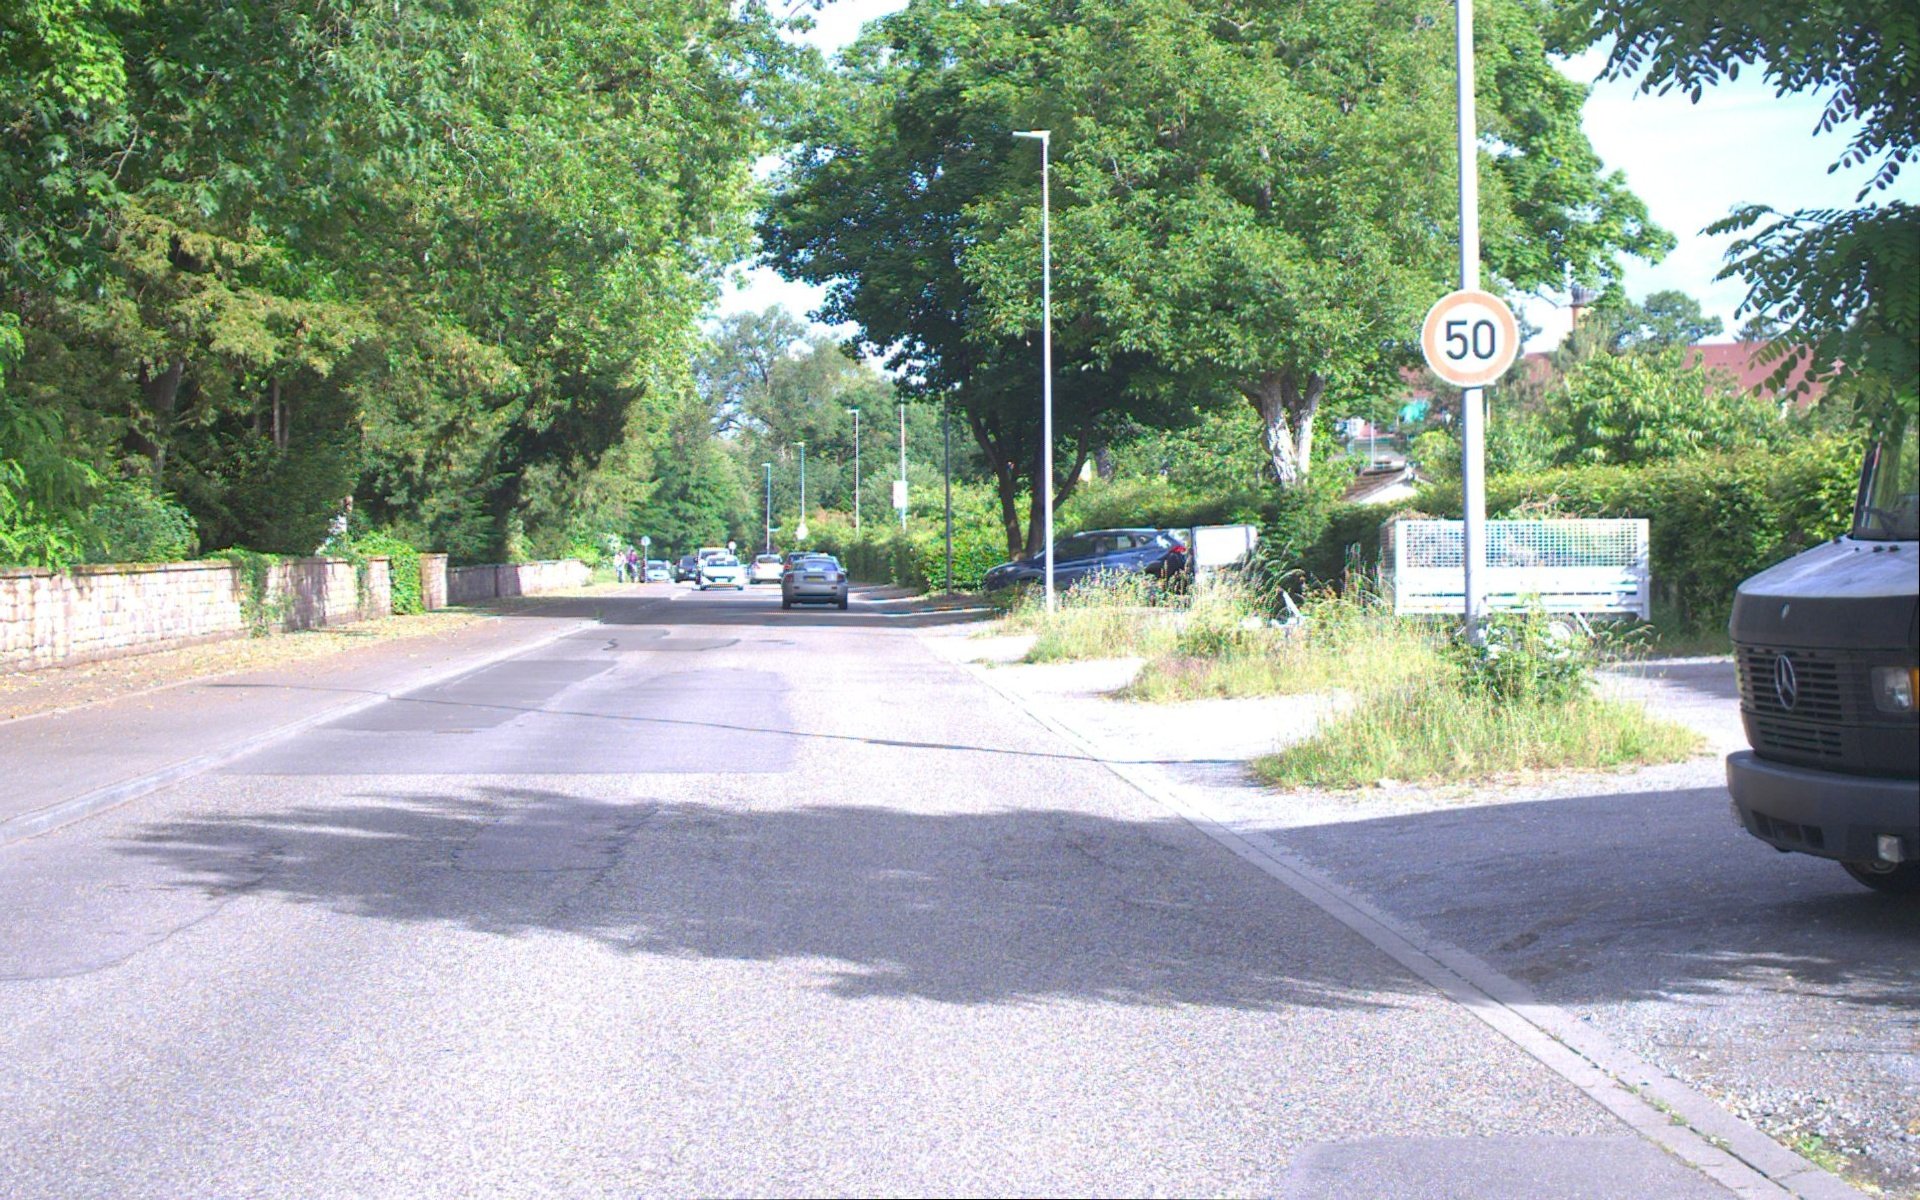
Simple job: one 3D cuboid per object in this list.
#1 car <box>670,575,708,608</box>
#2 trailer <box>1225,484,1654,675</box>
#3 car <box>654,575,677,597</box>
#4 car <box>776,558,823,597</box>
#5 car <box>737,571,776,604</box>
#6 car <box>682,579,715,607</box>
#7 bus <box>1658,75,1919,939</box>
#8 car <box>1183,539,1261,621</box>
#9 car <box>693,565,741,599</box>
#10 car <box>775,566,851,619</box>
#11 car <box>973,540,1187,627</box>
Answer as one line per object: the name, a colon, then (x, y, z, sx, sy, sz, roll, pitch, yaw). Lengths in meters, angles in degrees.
car: (-13.551, -0.418, 172.099, 1.886, 1.608, 4.055, 0, 0, -4)
trailer: (4.894, -0.206, 35.537, 4.152, 1.829, 1.916, -1, 0, 1)
car: (-20.566, -0.988, 240.097, 1.577, 1.447, 3.399, -1, 0, -4)
car: (-6.809, -0.938, 145.709, 1.886, 1.608, 4.055, 0, 0, -4)
car: (-10.173, -0.633, 171.440, 1.886, 1.608, 4.055, 0, 0, -4)
car: (-15.295, -0.426, 200.935, 1.886, 1.608, 4.055, 0, 0, -4)
bus: (5.428, -0.375, 12.182, 5.364, 2.737, 2.069, -1, 1, -5)
car: (5.519, -0.439, 72.100, 1.351, 1.627, 4.110, -3, 1, 7)
car: (-10.088, -0.745, 142.628, 1.886, 1.367, 4.055, 0, 0, -5)
car: (-3.889, -0.204, 90.399, 1.886, 1.367, 4.055, 0, 0, -4)
car: (2.547, -0.352, 73.882, 4.403, 1.641, 2.000, -3, 0, -2)
